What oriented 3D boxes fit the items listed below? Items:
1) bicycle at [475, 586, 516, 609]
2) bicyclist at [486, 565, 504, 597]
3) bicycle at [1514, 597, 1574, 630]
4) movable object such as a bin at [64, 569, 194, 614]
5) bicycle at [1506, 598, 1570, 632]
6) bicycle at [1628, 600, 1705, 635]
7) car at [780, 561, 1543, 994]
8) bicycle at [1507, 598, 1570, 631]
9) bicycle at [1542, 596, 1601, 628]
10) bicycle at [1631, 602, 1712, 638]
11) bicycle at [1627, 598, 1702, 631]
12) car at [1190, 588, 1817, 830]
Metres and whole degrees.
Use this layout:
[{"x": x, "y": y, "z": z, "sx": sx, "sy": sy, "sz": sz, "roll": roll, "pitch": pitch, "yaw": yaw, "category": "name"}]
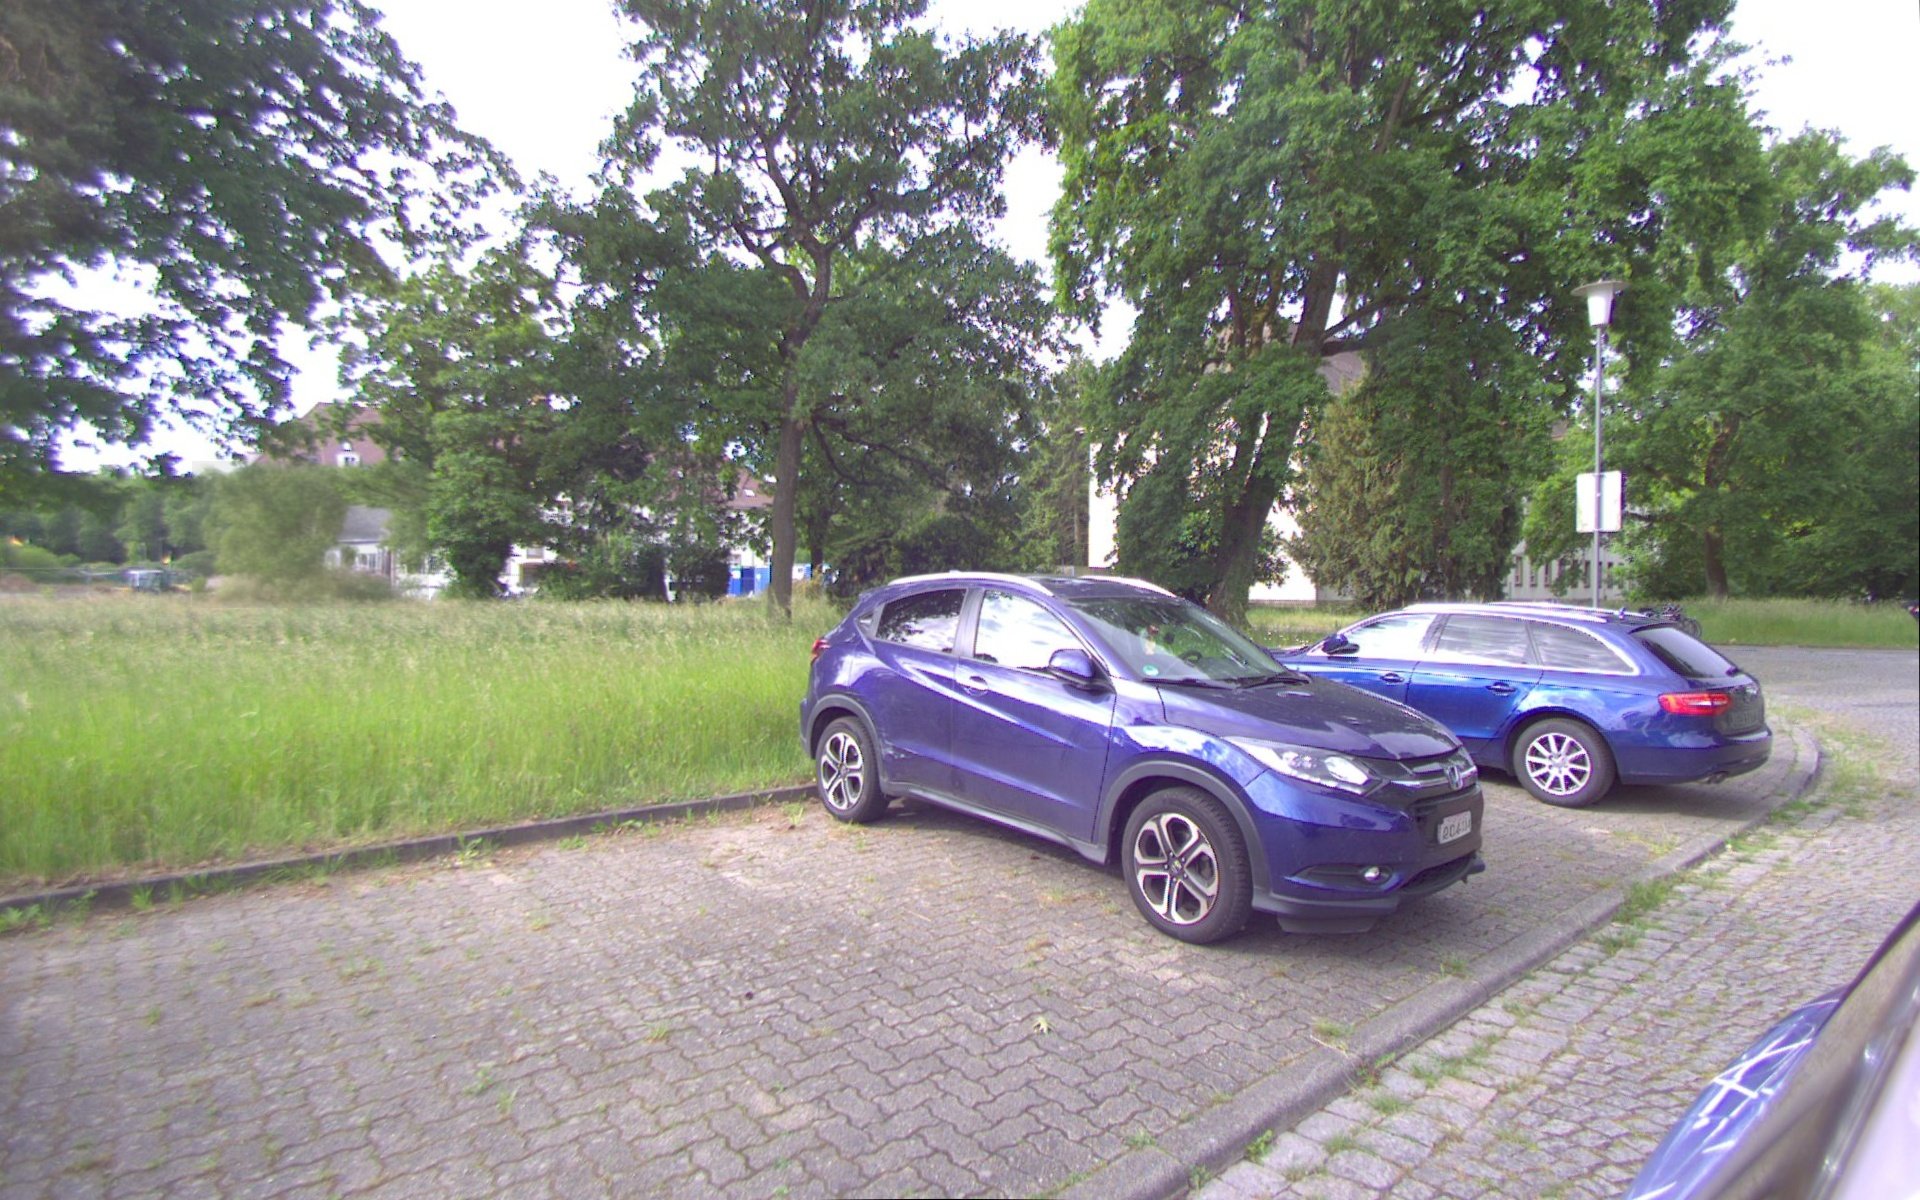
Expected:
[{"x": -25.367, "y": -0.157, "z": 55.295, "sx": 1.899, "sy": 1.244, "sz": 0.724, "roll": -1, "pitch": 0, "yaw": -43, "category": "bicycle"}, {"x": -25.397, "y": -1.018, "z": 55.285, "sx": 0.759, "sy": 1.717, "sz": 0.726, "roll": 0, "pitch": 0, "yaw": -40, "category": "bicyclist"}, {"x": 20.978, "y": 0.477, "z": 36.383, "sx": 1.839, "sy": 1.137, "sz": 0.616, "roll": 0, "pitch": 0, "yaw": 27, "category": "bicycle"}, {"x": -51.490, "y": -0.525, "z": 62.890, "sx": 5.853, "sy": 2.688, "sz": 2.179, "roll": 0, "pitch": 0, "yaw": -24, "category": "movable object such as a bin"}, {"x": 19.669, "y": 0.499, "z": 34.479, "sx": 1.839, "sy": 1.137, "sz": 0.616, "roll": 0, "pitch": 0, "yaw": 27, "category": "bicycle"}, {"x": 22.859, "y": 0.566, "z": 32.774, "sx": 1.950, "sy": 1.090, "sz": 0.584, "roll": 0, "pitch": 0, "yaw": 23, "category": "bicycle"}, {"x": 0.791, "y": 0.598, "z": 5.876, "sx": 1.762, "sy": 1.591, "sz": 4.170, "roll": -1, "pitch": 2, "yaw": -40, "category": "car"}, {"x": 19.988, "y": 0.493, "z": 35.029, "sx": 1.839, "sy": 1.137, "sz": 0.616, "roll": 0, "pitch": 0, "yaw": 27, "category": "bicycle"}, {"x": 22.744, "y": 0.443, "z": 37.672, "sx": 1.839, "sy": 1.137, "sz": 0.616, "roll": 0, "pitch": 0, "yaw": 27, "category": "bicycle"}, {"x": 22.028, "y": 0.616, "z": 31.351, "sx": 1.950, "sy": 1.090, "sz": 0.584, "roll": 0, "pitch": 0, "yaw": 23, "category": "bicycle"}, {"x": 24.036, "y": 0.495, "z": 34.584, "sx": 2.009, "sy": 1.090, "sz": 0.616, "roll": 0, "pitch": 0, "yaw": 27, "category": "bicycle"}, {"x": 4.347, "y": 0.678, "z": 8.819, "sx": 1.752, "sy": 1.439, "sz": 4.483, "roll": 0, "pitch": 2, "yaw": -37, "category": "car"}]
